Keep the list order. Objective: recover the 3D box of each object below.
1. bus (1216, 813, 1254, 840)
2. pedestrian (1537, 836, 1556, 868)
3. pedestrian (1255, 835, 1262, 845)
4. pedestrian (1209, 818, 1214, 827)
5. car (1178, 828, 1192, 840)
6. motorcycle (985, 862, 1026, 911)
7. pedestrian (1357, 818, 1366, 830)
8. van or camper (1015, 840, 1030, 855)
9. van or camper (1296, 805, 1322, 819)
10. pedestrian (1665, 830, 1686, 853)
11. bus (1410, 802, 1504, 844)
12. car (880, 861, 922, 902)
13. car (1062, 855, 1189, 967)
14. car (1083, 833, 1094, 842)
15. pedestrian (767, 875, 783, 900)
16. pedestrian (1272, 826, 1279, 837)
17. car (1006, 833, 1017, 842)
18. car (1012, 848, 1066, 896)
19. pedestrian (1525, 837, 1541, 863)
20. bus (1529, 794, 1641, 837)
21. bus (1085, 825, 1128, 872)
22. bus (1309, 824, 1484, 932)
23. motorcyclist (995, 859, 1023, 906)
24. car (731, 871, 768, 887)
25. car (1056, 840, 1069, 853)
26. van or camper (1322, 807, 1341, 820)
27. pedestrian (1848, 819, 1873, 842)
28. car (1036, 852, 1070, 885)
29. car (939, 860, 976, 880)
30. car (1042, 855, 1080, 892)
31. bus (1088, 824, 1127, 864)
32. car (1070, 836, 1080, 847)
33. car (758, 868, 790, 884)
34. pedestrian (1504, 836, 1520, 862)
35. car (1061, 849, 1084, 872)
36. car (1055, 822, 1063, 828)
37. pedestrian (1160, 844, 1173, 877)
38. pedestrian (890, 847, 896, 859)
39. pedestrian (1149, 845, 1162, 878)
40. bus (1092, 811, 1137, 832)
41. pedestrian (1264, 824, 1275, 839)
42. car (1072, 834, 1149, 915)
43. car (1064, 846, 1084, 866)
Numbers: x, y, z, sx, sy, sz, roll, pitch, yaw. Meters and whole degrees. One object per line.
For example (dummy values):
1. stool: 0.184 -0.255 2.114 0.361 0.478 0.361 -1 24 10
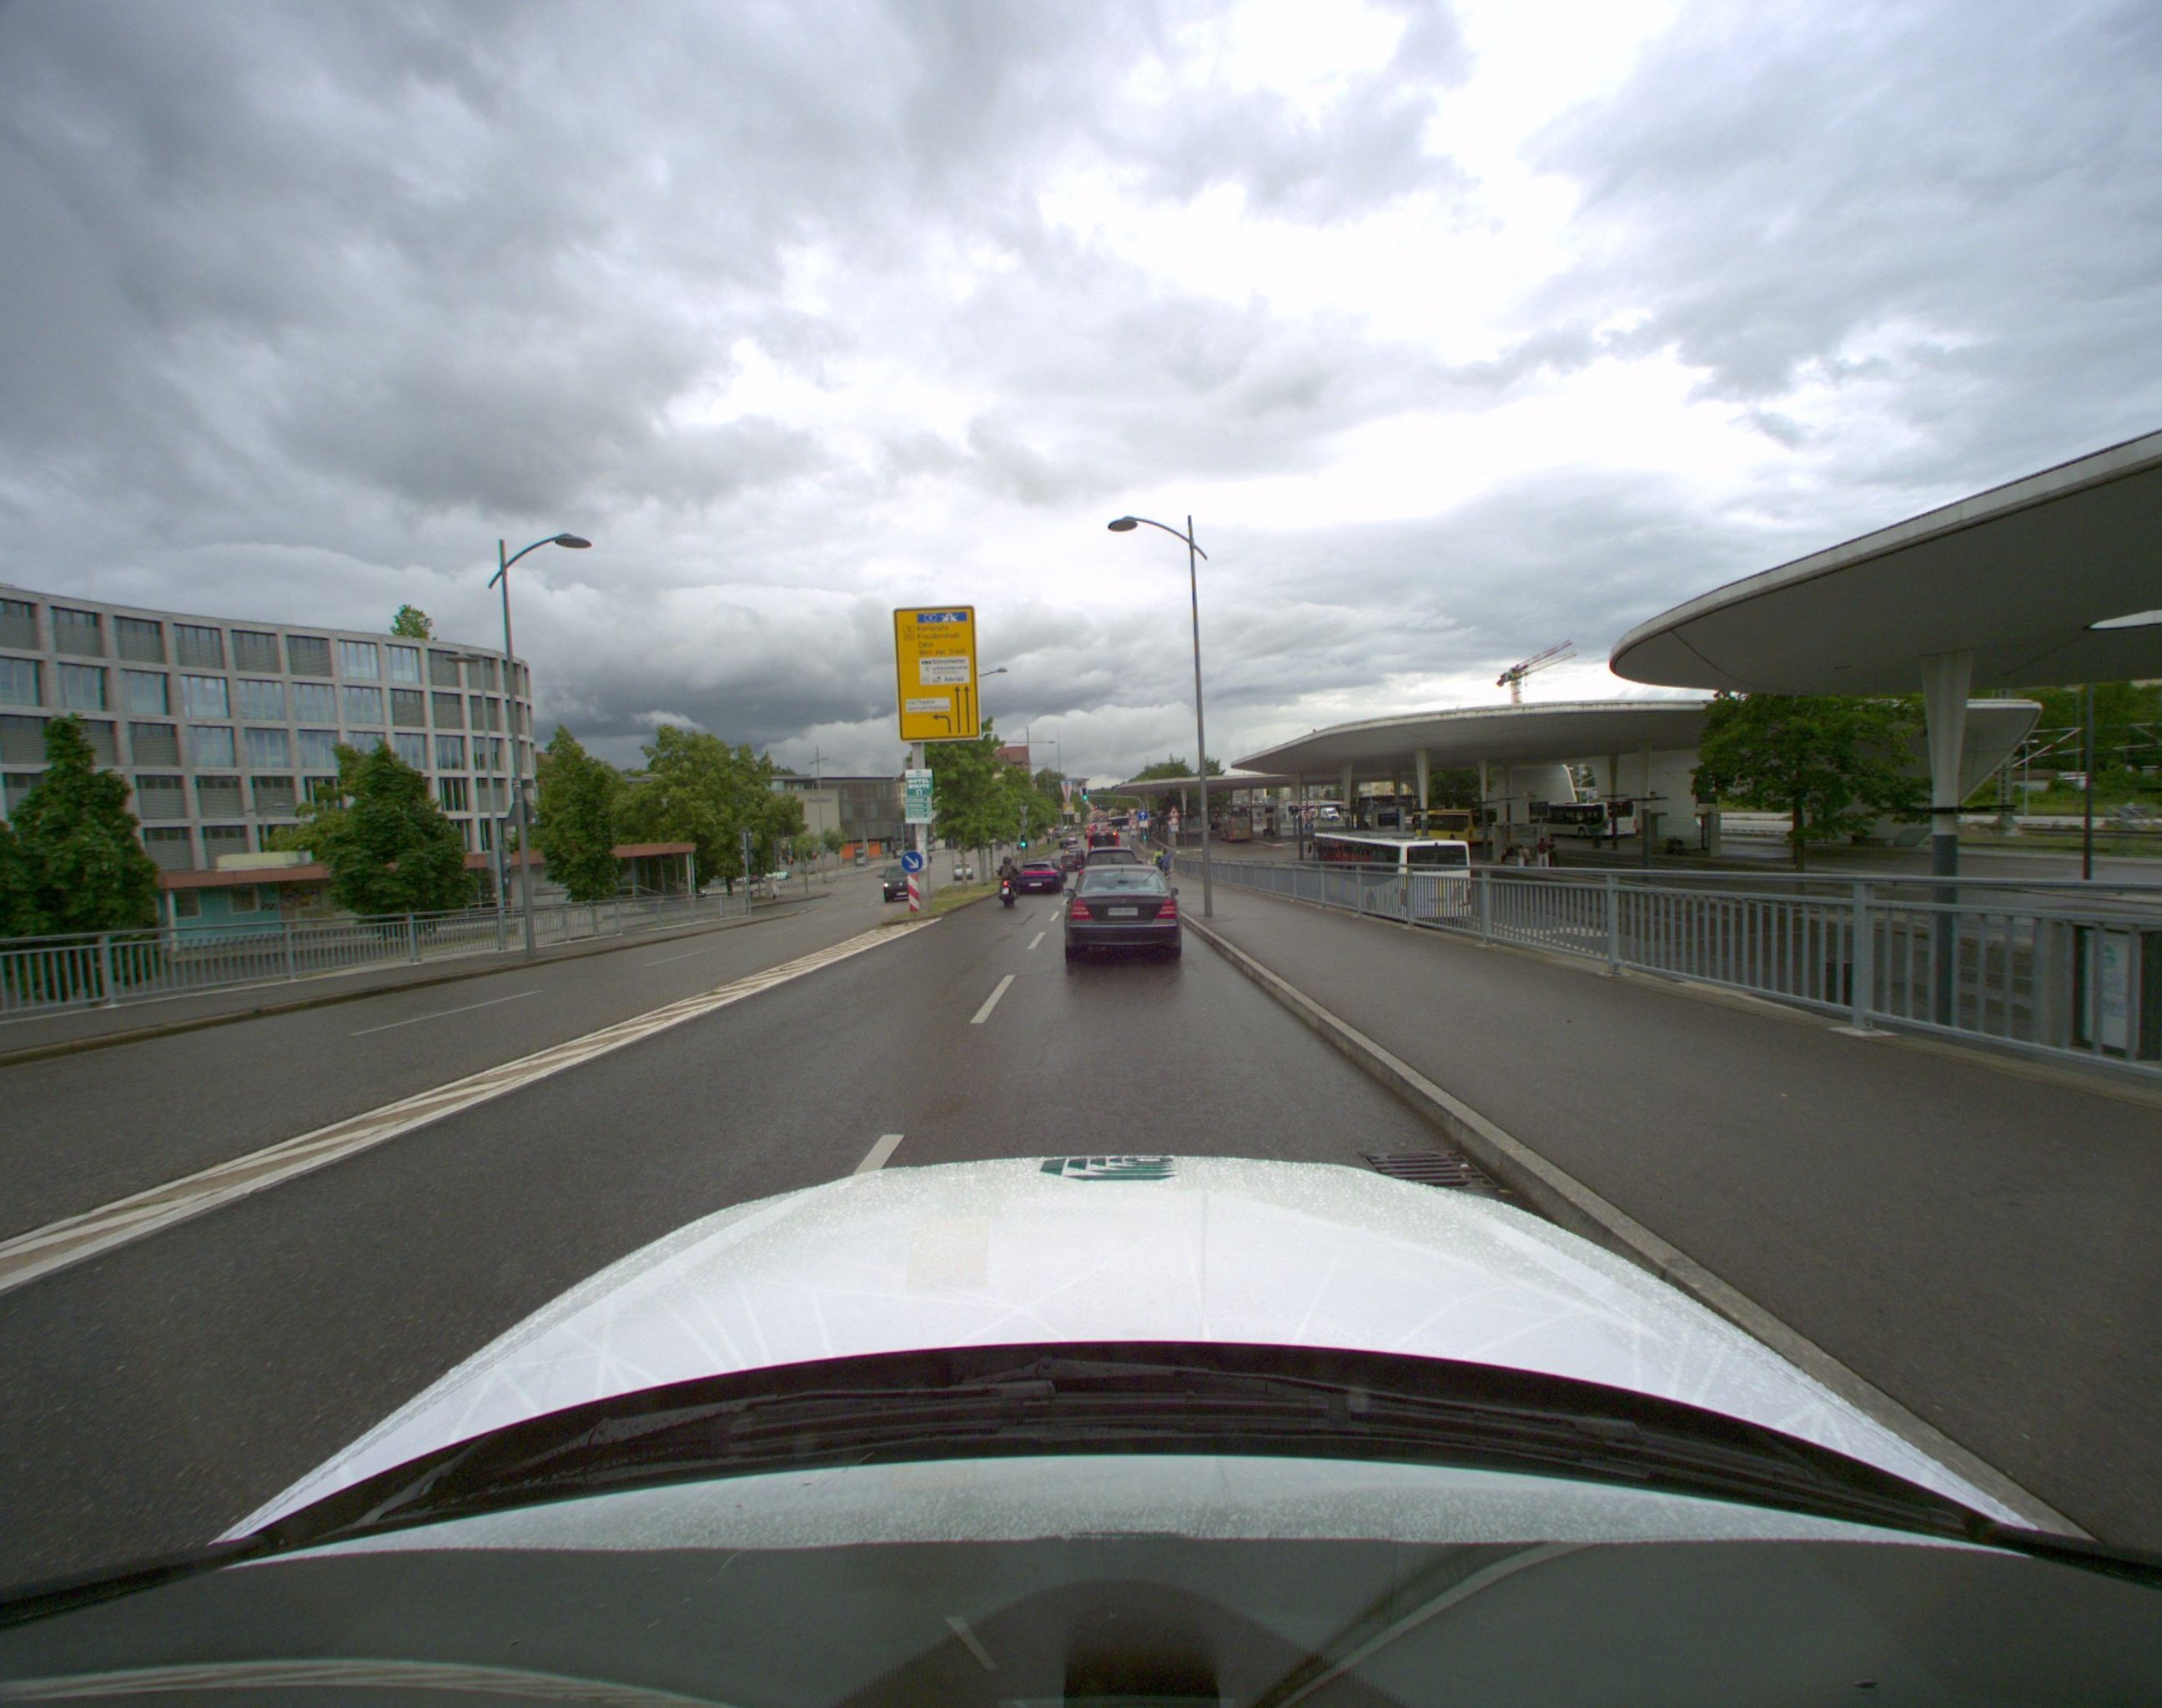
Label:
1. bus: 19.990 -3.659 106.533 2.711 3.042 12.097 -5 3 2
2. pedestrian: 25.584 -0.109 44.791 0.646 1.654 0.632 -6 3 -39
3. pedestrian: 23.131 -1.861 106.177 0.786 1.226 0.637 -4 3 19
4. pedestrian: 22.854 -5.527 142.447 0.573 1.578 0.565 -1 -1 31
5. car: 16.786 -3.196 131.500 1.706 1.661 4.241 -3 3 1
6. motorcycle: -2.312 0.971 25.191 0.789 1.261 1.858 -5 3 5
7. pedestrian: 36.586 -3.904 106.278 0.793 1.585 0.907 -2 2 -5
8. van or camper: -9.868 -1.081 136.894 2.215 2.072 5.270 -5 0 -7
9. van or camper: 44.175 -8.115 157.890 4.592 2.557 2.119 -1 1 0
10. pedestrian: 35.471 -0.755 48.598 0.705 1.325 0.803 -1 -1 9
11. bus: 33.648 -2.692 73.612 2.779 3.257 12.140 -4 1 0
12. car: -9.534 1.443 43.452 1.845 1.967 4.669 -3 -1 -10
13. car: 0.653 0.769 13.080 1.691 1.462 4.305 -1 0 1
14. car: 1.433 -3.098 154.235 1.859 1.684 4.001 -1 0 1
15. pedestrian: -20.541 2.265 54.632 0.649 1.570 0.631 -5 0 2
16. pedestrian: 24.781 -2.898 103.636 0.786 1.377 0.637 -4 3 19
17. car: -14.265 -3.397 166.795 1.903 1.661 4.856 -4 4 -2
18. car: -1.756 0.724 35.347 1.809 1.570 4.407 -6 3 2
19. pedestrian: 25.971 -0.226 46.801 0.566 1.393 0.558 -4 3 7
20. bus: 43.552 -3.440 71.029 2.457 3.256 11.979 -5 3 2
21. bus: 2.279 -0.606 71.149 3.273 3.290 10.888 -5 3 3
22. bus: 12.698 0.609 34.548 2.834 3.360 12.433 0 4 1
23. motorcyclist: -2.242 0.884 25.430 0.638 1.347 0.690 -5 3 5
24. car: -41.523 3.119 102.115 1.743 1.495 3.813 -2 3 40
25. car: -2.795 -1.193 124.011 1.791 1.907 3.641 0 -1 2
26. van or camper: 46.653 -7.506 151.580 1.986 2.102 5.482 -1 1 1
27. pedestrian: 46.426 -1.388 48.492 0.706 1.325 0.802 0 -1 4
28. car: -1.689 0.857 50.111 1.670 1.622 3.874 -6 3 2
29. car: -10.592 1.381 69.584 1.643 1.448 3.836 -6 2 -32
30. car: -1.034 1.019 44.673 1.735 1.566 3.874 -6 3 2
31. bus: 2.628 -1.052 79.549 3.278 3.288 8.857 -5 3 3
32. car: -1.026 -2.085 137.500 1.635 1.804 3.641 0 -1 2
33. car: -37.087 2.691 98.561 1.615 1.495 3.599 -4 3 17
34. pedestrian: 26.113 -0.300 49.373 0.587 1.589 0.677 0 -1 -3
35. car: -0.680 0.544 68.660 1.569 1.504 3.875 -6 3 3
36. car: -6.168 -8.149 229.796 1.773 1.566 3.432 -6 3 2
37. pedestrian: 4.441 0.354 42.288 0.587 1.670 0.580 -1 -2 1
38. pedestrian: -28.025 -0.116 121.670 0.471 1.683 0.765 -4 3 8
39. pedestrian: 3.867 0.379 42.326 0.520 1.670 0.580 -3 0 1
40. bus: 7.383 -7.222 180.040 2.861 3.986 11.729 -6 3 -37
41. pedestrian: 22.374 -2.669 96.745 0.721 1.683 1.013 -7 3 -24
42. car: 0.878 0.513 24.986 1.950 1.875 4.877 -6 3 2
43. car: -0.659 0.180 78.082 1.570 1.566 3.874 -6 3 2
